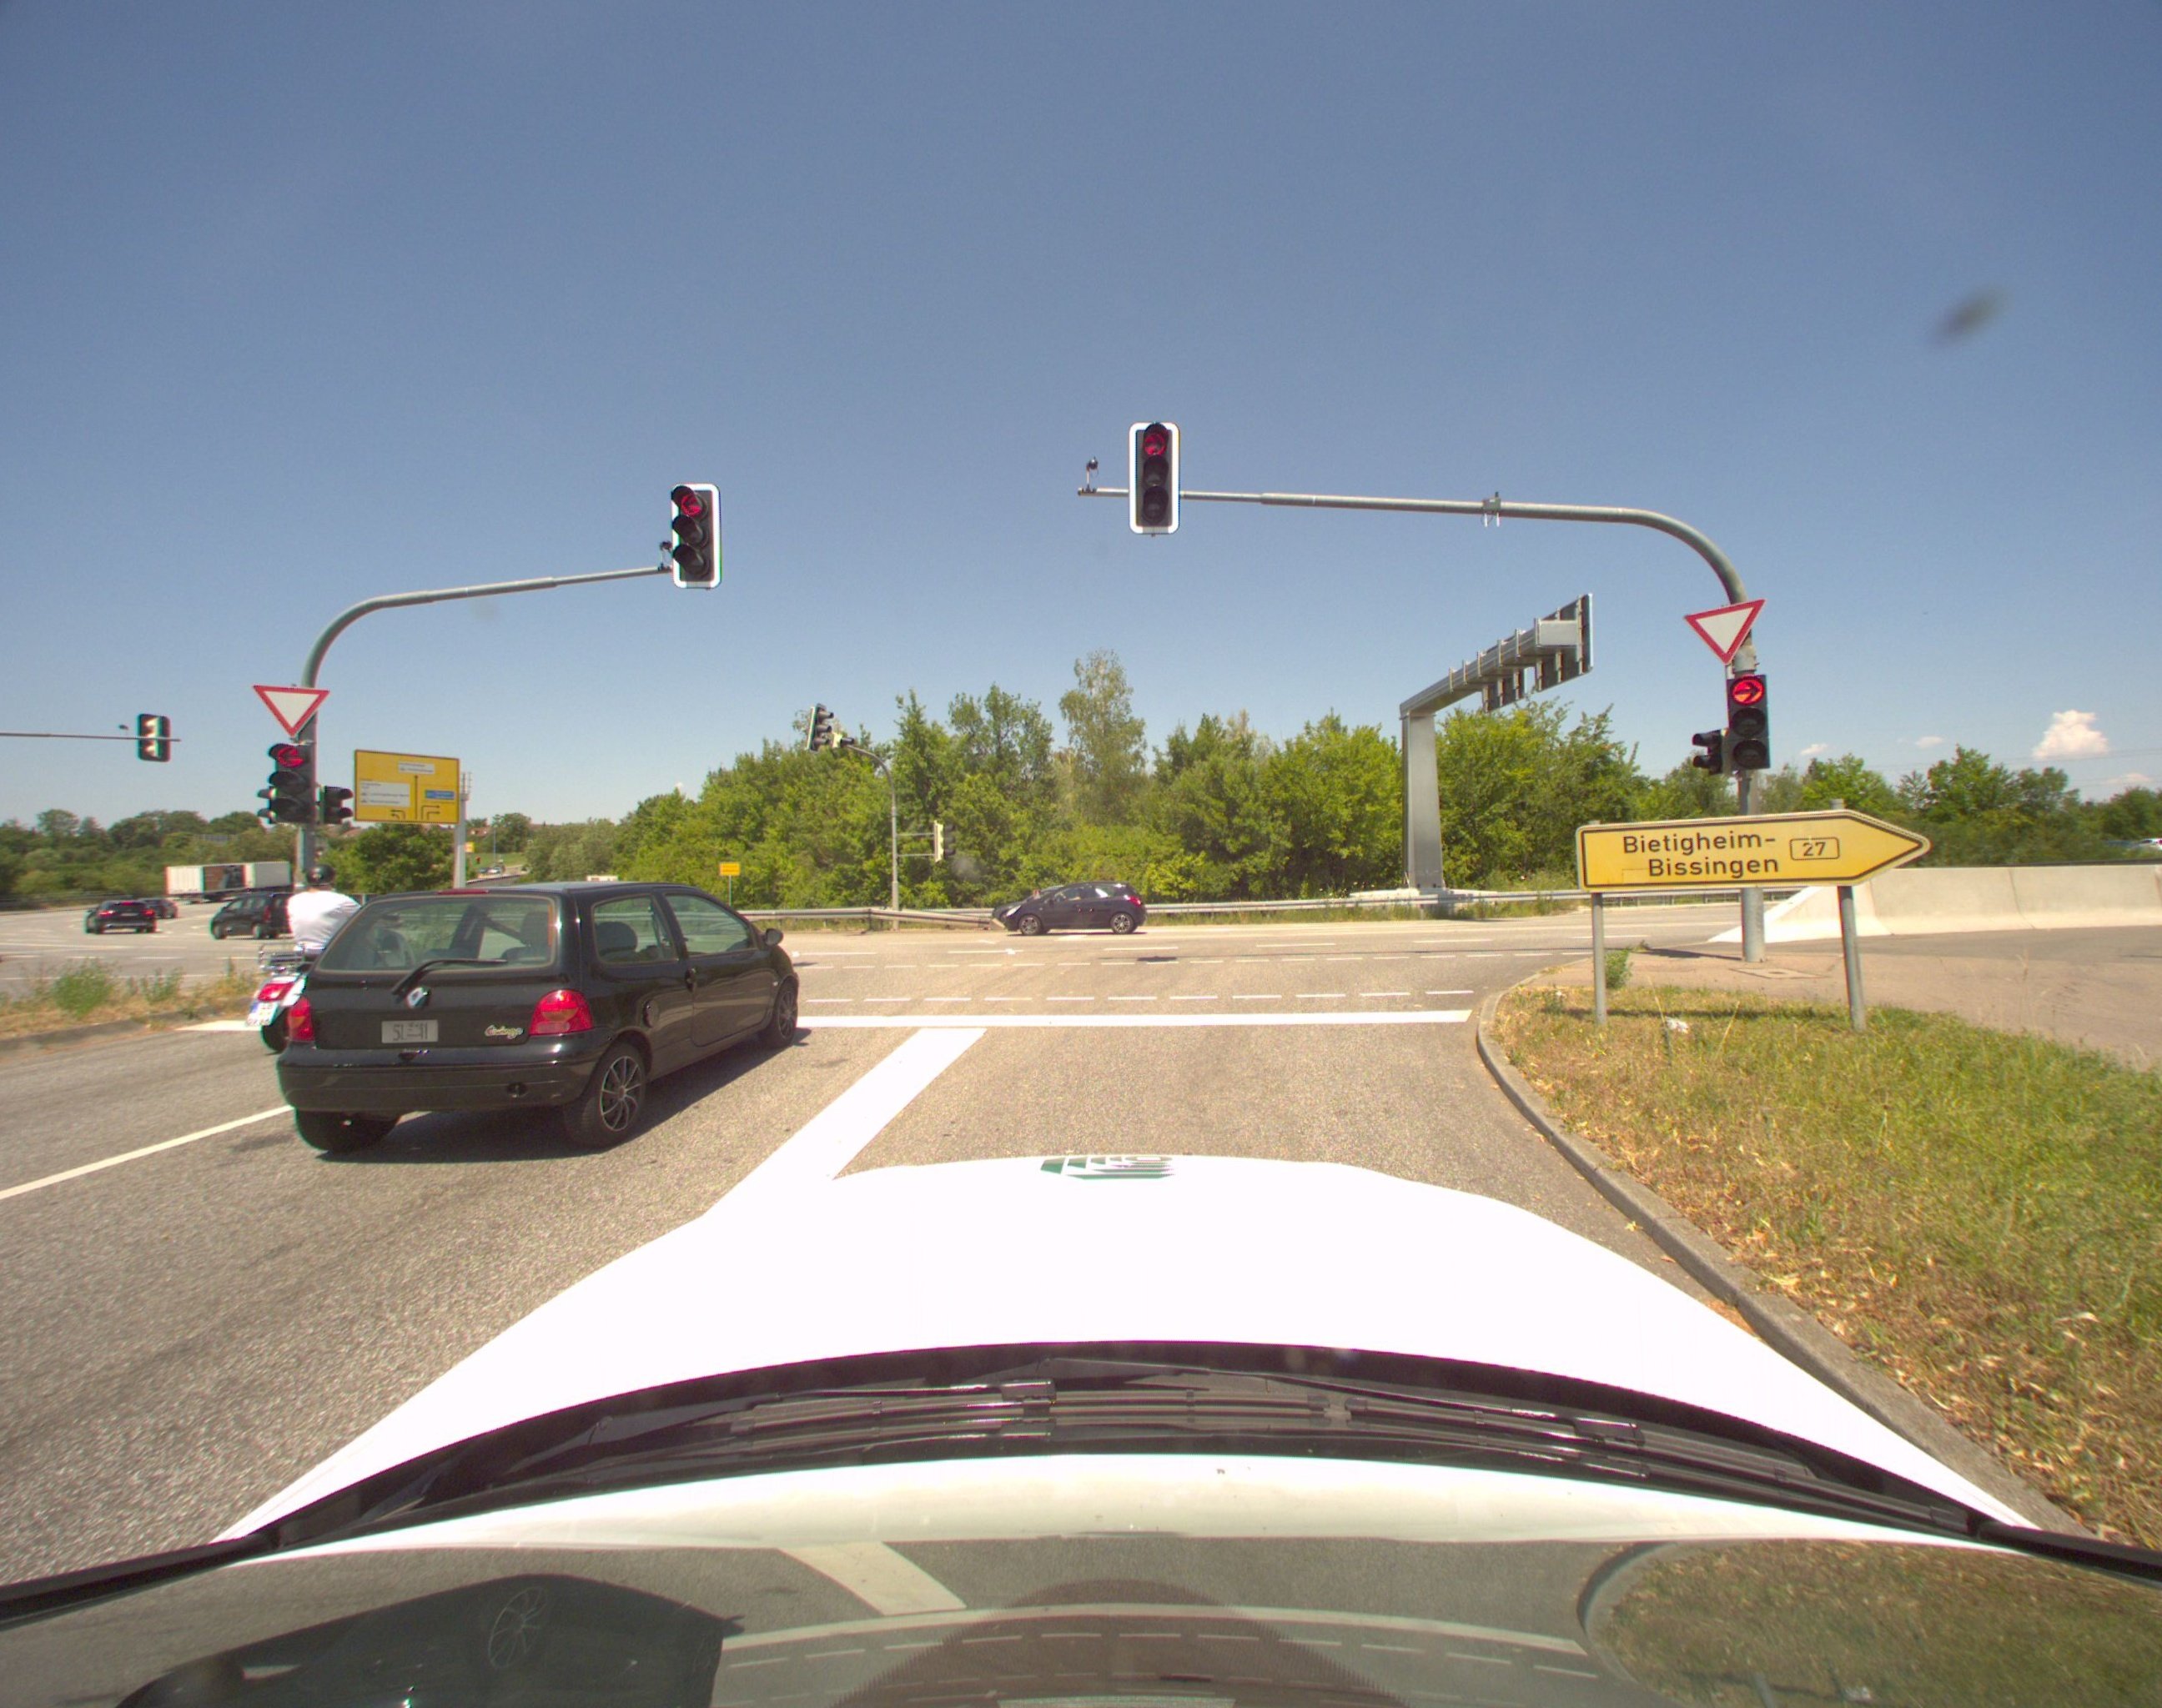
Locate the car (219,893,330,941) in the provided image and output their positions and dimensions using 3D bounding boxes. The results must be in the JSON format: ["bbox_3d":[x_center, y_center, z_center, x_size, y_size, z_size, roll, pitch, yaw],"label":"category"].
[{"bbox_3d":[-31.547,2.438,31.856,3.950,1.732,1.896,-3,-3,26],"label":"car"}]

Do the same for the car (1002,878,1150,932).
[{"bbox_3d":[-0.074,1.432,22.755,3.893,1.434,1.815,-1,-4,8],"label":"car"}]

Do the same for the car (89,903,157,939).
[{"bbox_3d":[-48.149,3.337,40.921,3.948,1.623,1.895,-2,-1,36],"label":"car"}]

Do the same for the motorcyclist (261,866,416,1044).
[{"bbox_3d":[-6.819,0.889,7.526,0.609,1.540,0.847,0,-2,1],"label":"motorcyclist"}]

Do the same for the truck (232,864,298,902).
[{"bbox_3d":[-96.361,3.316,96.268,3.244,4.248,6.192,0,0,-21],"label":"truck"}]

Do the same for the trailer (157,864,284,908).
[{"bbox_3d":[-93.620,3.279,89.189,3.244,4.248,15.297,0,0,-21],"label":"trailer"}]

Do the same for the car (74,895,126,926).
[{"bbox_3d":[-62.019,3.544,51.463,3.948,1.665,1.947,0,0,37],"label":"car"}]

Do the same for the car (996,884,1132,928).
[{"bbox_3d":[-0.567,1.820,28.392,4.367,1.434,1.818,-1,-4,14],"label":"car"}]

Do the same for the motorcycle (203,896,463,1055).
[{"bbox_3d":[-6.806,1.036,7.581,0.574,1.238,1.941,0,-2,1],"label":"motorcycle"}]

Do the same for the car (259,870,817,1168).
[{"bbox_3d":[-3.215,0.846,5.665,1.613,1.407,3.301,-1,-1,1],"label":"car"}]
